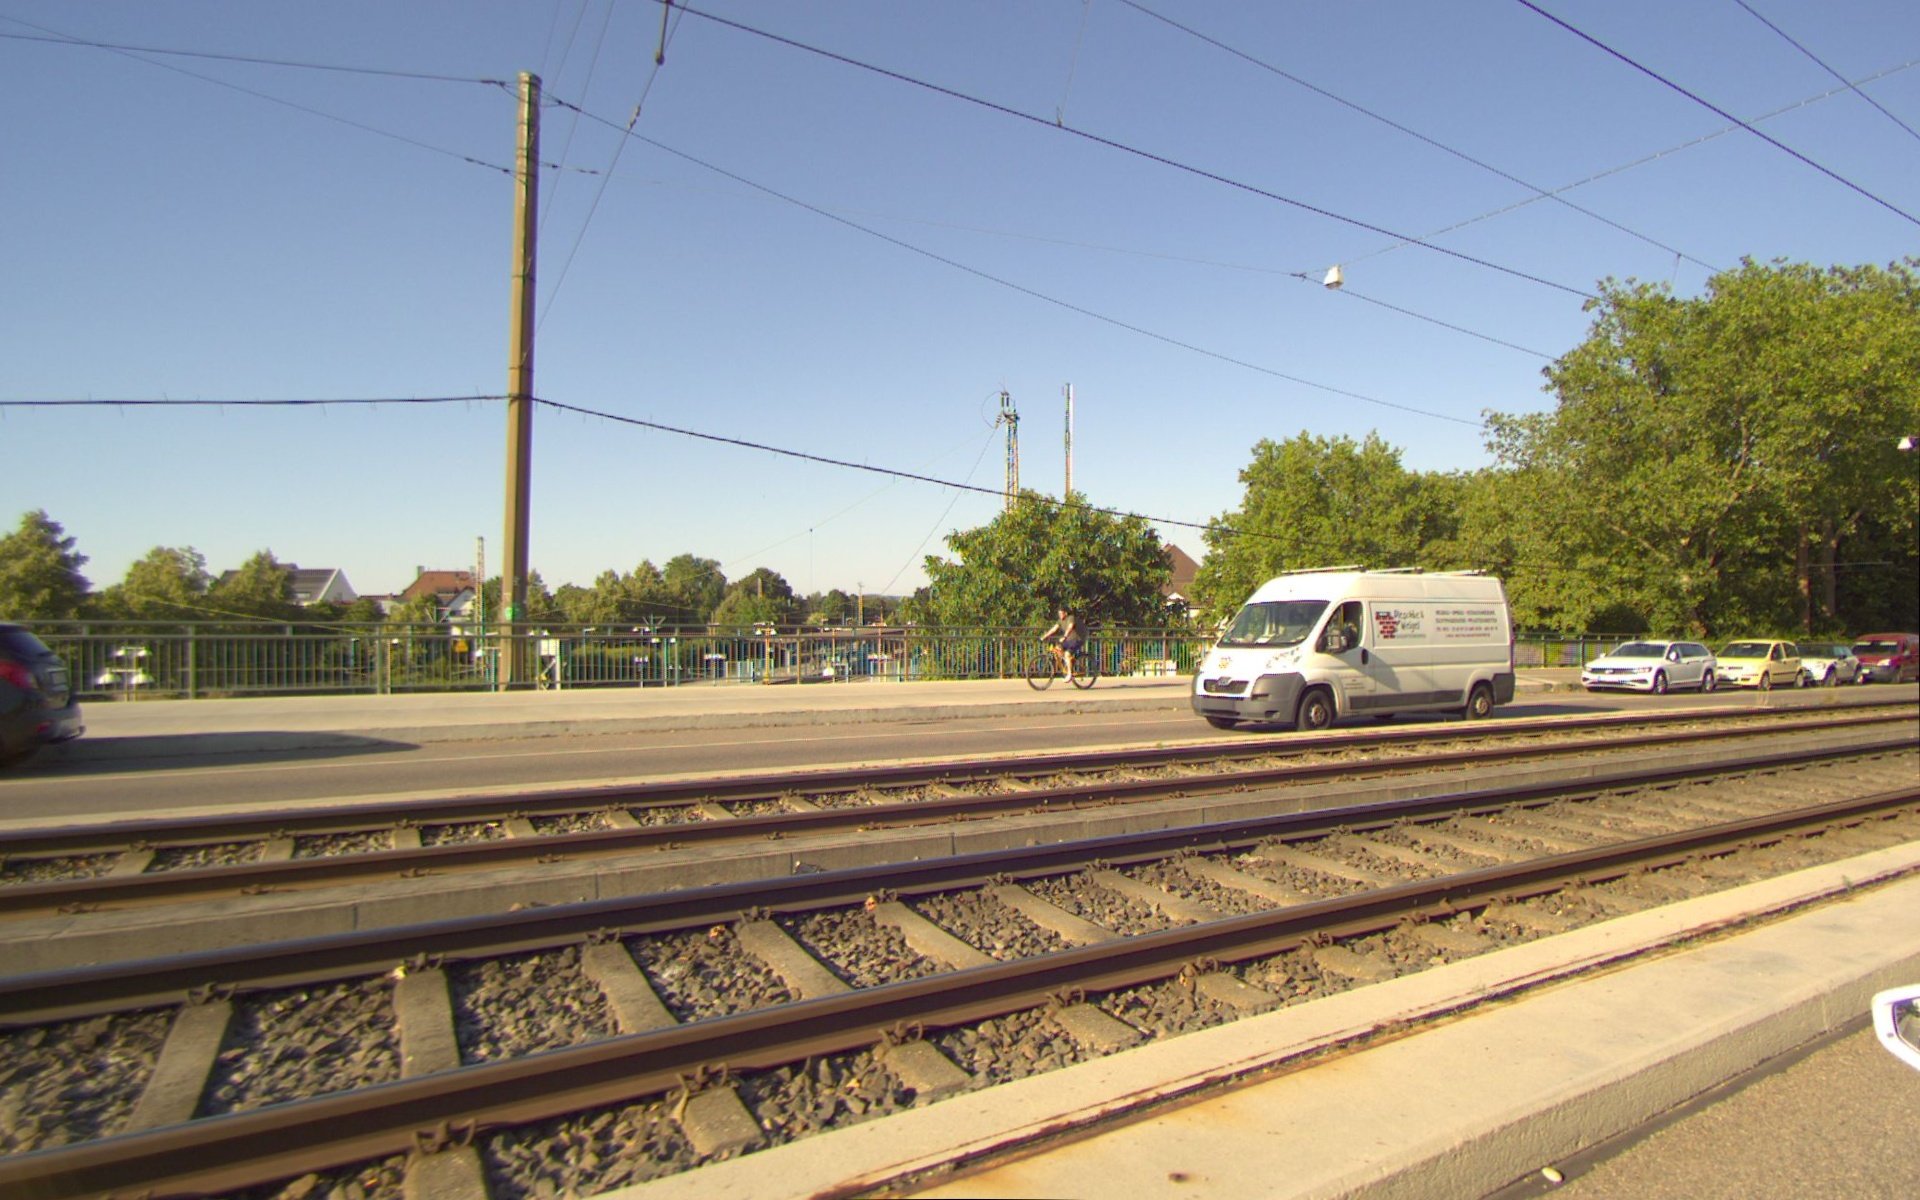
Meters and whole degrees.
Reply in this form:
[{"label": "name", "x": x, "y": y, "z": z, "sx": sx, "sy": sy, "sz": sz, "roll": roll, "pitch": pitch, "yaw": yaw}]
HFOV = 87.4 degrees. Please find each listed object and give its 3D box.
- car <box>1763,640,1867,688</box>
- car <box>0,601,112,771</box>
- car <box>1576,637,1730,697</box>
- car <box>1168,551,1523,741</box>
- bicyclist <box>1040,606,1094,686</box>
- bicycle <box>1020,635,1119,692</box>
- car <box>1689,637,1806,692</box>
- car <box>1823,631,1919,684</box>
[{"label": "car", "x": 28.903, "y": 2.107, "z": 33.940, "sx": 3.958, "sy": 1.470, "sz": 1.624, "roll": 1, "pitch": -1, "yaw": -33}, {"label": "car", "x": -11.337, "y": 0.879, "z": 9.795, "sx": 4.395, "sy": 1.672, "sz": 1.771, "roll": 1, "pitch": -4, "yaw": -31}, {"label": "car", "x": 19.434, "y": 1.806, "z": 28.114, "sx": 4.900, "sy": 1.483, "sz": 1.732, "roll": 1, "pitch": -1, "yaw": -32}, {"label": "car", "x": 6.334, "y": 0.705, "z": 16.260, "sx": 5.969, "sy": 2.627, "sz": 2.077, "roll": 1, "pitch": -2, "yaw": -30}, {"label": "bicyclist", "x": 2.272, "y": 0.959, "z": 21.268, "sx": 0.879, "sy": 1.648, "sz": 0.676, "roll": 1, "pitch": 1, "yaw": -30}, {"label": "bicycle", "x": 2.338, "y": 1.331, "z": 21.316, "sx": 2.075, "sy": 1.112, "sz": 0.676, "roll": 1, "pitch": 1, "yaw": -30}, {"label": "car", "x": 24.400, "y": 1.960, "z": 31.105, "sx": 3.746, "sy": 1.551, "sz": 1.625, "roll": 1, "pitch": -1, "yaw": -31}, {"label": "car", "x": 33.501, "y": 2.035, "z": 36.610, "sx": 4.630, "sy": 1.777, "sz": 1.733, "roll": 1, "pitch": -1, "yaw": -31}]
